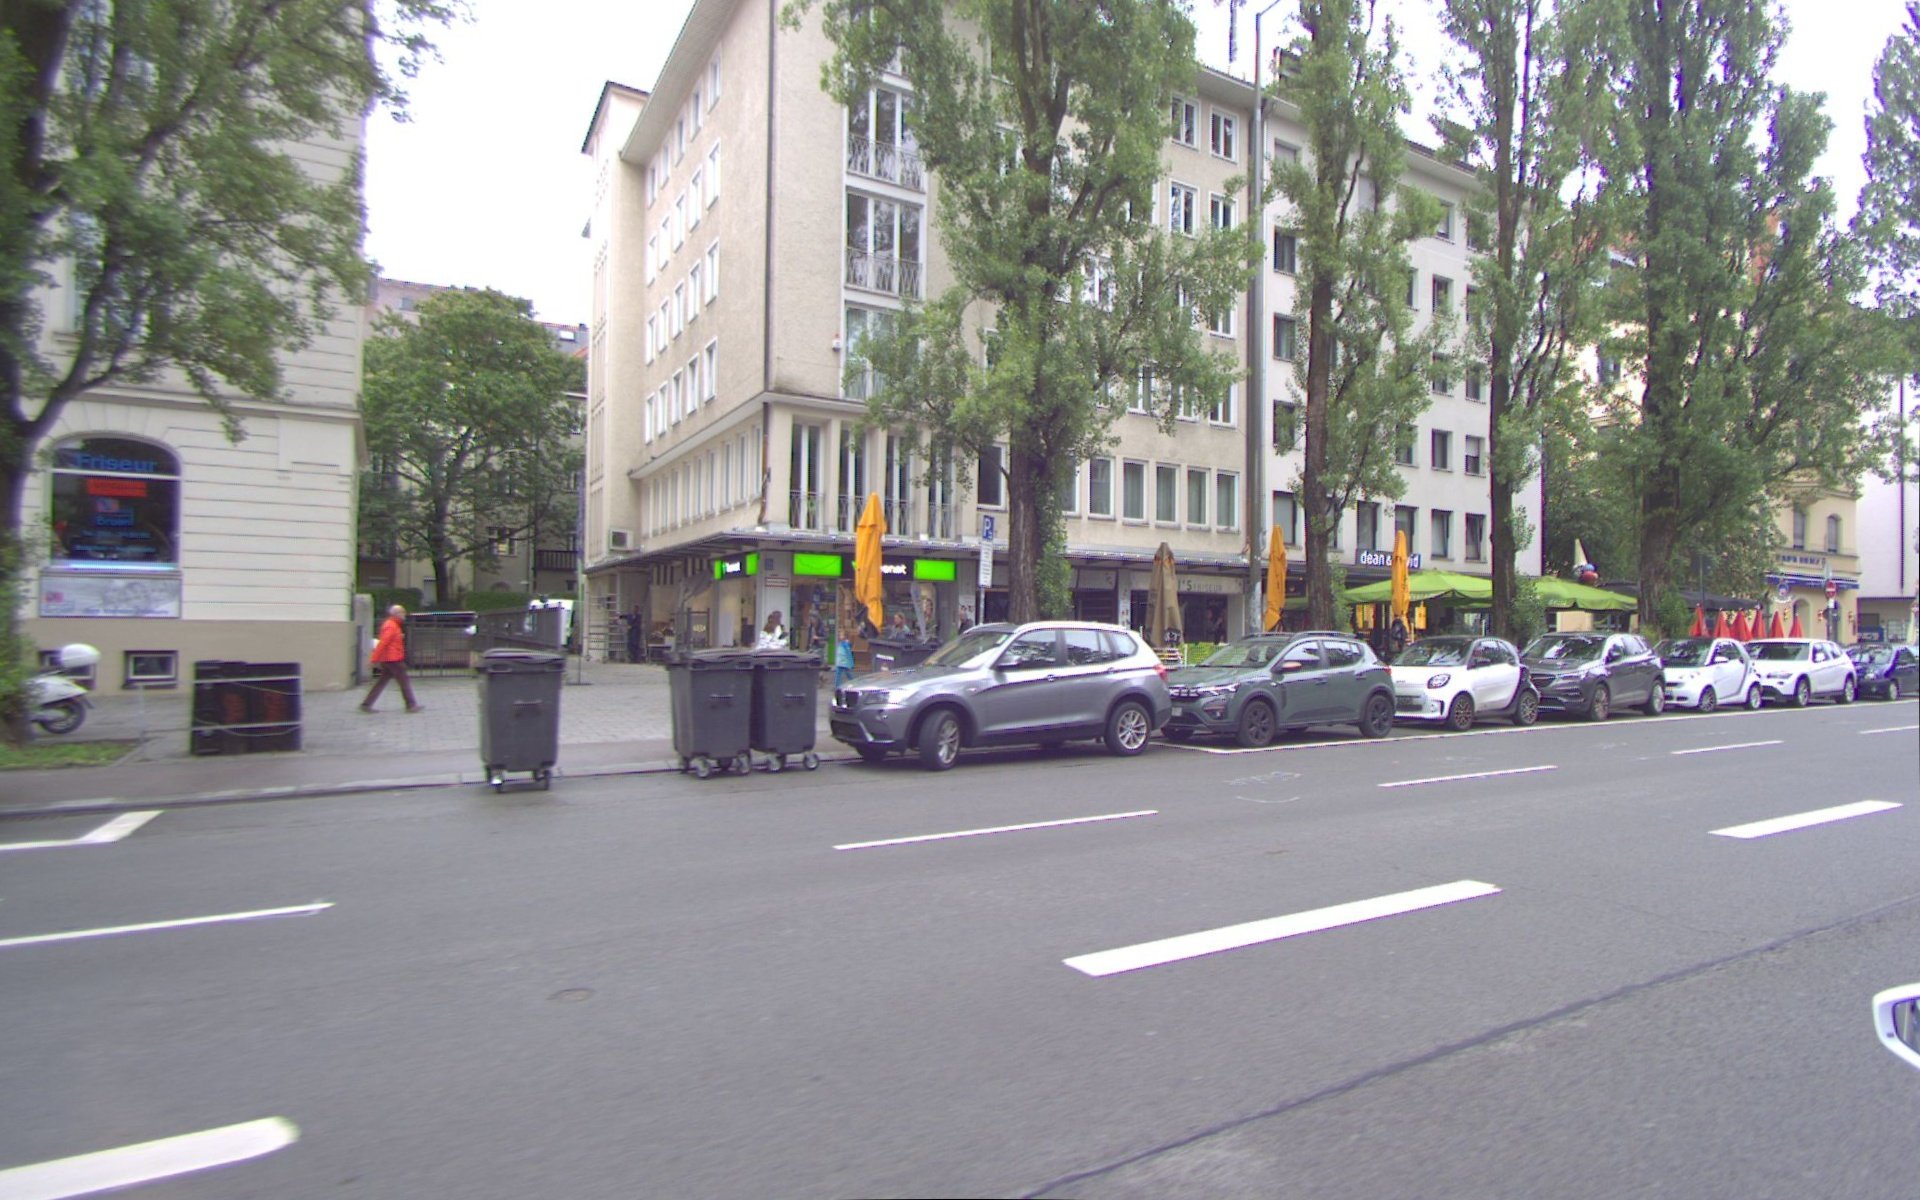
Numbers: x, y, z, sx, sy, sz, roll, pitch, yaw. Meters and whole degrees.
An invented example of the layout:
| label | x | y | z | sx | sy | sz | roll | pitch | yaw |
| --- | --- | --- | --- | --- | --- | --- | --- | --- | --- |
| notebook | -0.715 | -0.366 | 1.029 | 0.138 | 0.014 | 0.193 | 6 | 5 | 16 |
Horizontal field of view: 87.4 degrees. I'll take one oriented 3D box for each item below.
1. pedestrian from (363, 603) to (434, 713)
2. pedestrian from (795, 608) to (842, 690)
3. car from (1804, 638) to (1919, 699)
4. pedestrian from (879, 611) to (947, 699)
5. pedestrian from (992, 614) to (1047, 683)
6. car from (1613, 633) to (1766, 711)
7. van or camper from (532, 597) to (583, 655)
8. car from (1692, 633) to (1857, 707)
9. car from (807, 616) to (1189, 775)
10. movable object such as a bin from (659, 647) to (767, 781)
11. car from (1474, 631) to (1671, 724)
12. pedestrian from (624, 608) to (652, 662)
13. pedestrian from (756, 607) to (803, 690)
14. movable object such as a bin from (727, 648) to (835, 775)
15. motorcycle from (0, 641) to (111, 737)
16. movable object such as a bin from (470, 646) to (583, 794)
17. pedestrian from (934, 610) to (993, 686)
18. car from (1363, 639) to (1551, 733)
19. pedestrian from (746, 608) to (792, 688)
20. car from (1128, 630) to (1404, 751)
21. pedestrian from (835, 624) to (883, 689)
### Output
| label | x | y | z | sx | sy | sz | roll | pitch | yaw |
| --- | --- | --- | --- | --- | --- | --- | --- | --- | --- |
| pedestrian | -8.978 | 0.905 | 16.075 | 0.941 | 1.695 | 0.730 | 2 | 0 | -30 |
| pedestrian | -3.058 | 1.050 | 21.757 | 0.818 | 1.744 | 0.621 | 1 | -2 | -33 |
| car | 23.615 | 1.724 | 25.998 | 3.348 | 1.466 | 1.580 | 1 | -2 | -28 |
| pedestrian | -0.979 | 1.115 | 20.711 | 1.134 | 1.767 | 0.848 | 1 | -1 | -30 |
| pedestrian | 1.560 | 1.257 | 26.355 | 1.134 | 1.768 | 0.848 | 1 | -1 | -30 |
| car | 15.650 | 1.503 | 21.550 | 2.886 | 1.554 | 1.567 | 1 | -2 | -28 |
| van or camper | -18.078 | 1.174 | 45.010 | 1.972 | 2.457 | 4.850 | 1 | -2 | -23 |
| car | 19.081 | 1.574 | 23.503 | 4.042 | 1.567 | 1.825 | 1 | -2 | -33 |
| car | 0.549 | 1.113 | 12.633 | 4.564 | 1.676 | 1.855 | 2 | -4 | -32 |
| movable object such as a bin | -2.743 | 1.203 | 11.071 | 0.816 | 1.334 | 1.253 | 1 | -1 | -31 |
| car | 11.858 | 1.416 | 19.375 | 4.139 | 1.586 | 1.828 | 2 | -2 | -36 |
| pedestrian | -10.330 | 1.129 | 32.209 | 0.752 | 1.716 | 0.623 | 1 | -1 | -28 |
| pedestrian | -3.881 | 1.041 | 21.573 | 0.817 | 1.744 | 0.622 | 1 | -2 | -31 |
| movable object such as a bin | -2.080 | 1.237 | 11.592 | 0.810 | 1.334 | 1.307 | 1 | -2 | -31 |
| motorcycle | -11.701 | 1.089 | 12.403 | 1.802 | 1.154 | 0.471 | 2 | -2 | -44 |
| movable object such as a bin | -4.336 | 1.137 | 10.010 | 0.891 | 1.327 | 1.271 | 1 | -2 | -30 |
| pedestrian | 0.082 | 1.130 | 23.923 | 1.134 | 1.767 | 0.848 | 1 | -1 | -30 |
| car | 8.584 | 1.417 | 17.338 | 2.950 | 1.447 | 1.623 | 1 | -2 | -32 |
| pedestrian | -4.219 | 1.050 | 22.172 | 0.817 | 1.744 | 0.622 | 1 | -2 | -31 |
| car | 4.574 | 1.243 | 14.849 | 4.036 | 1.571 | 1.689 | 1 | -2 | -32 |
| pedestrian | -2.168 | 1.199 | 21.530 | 0.818 | 1.342 | 0.621 | 1 | -2 | -33 |
